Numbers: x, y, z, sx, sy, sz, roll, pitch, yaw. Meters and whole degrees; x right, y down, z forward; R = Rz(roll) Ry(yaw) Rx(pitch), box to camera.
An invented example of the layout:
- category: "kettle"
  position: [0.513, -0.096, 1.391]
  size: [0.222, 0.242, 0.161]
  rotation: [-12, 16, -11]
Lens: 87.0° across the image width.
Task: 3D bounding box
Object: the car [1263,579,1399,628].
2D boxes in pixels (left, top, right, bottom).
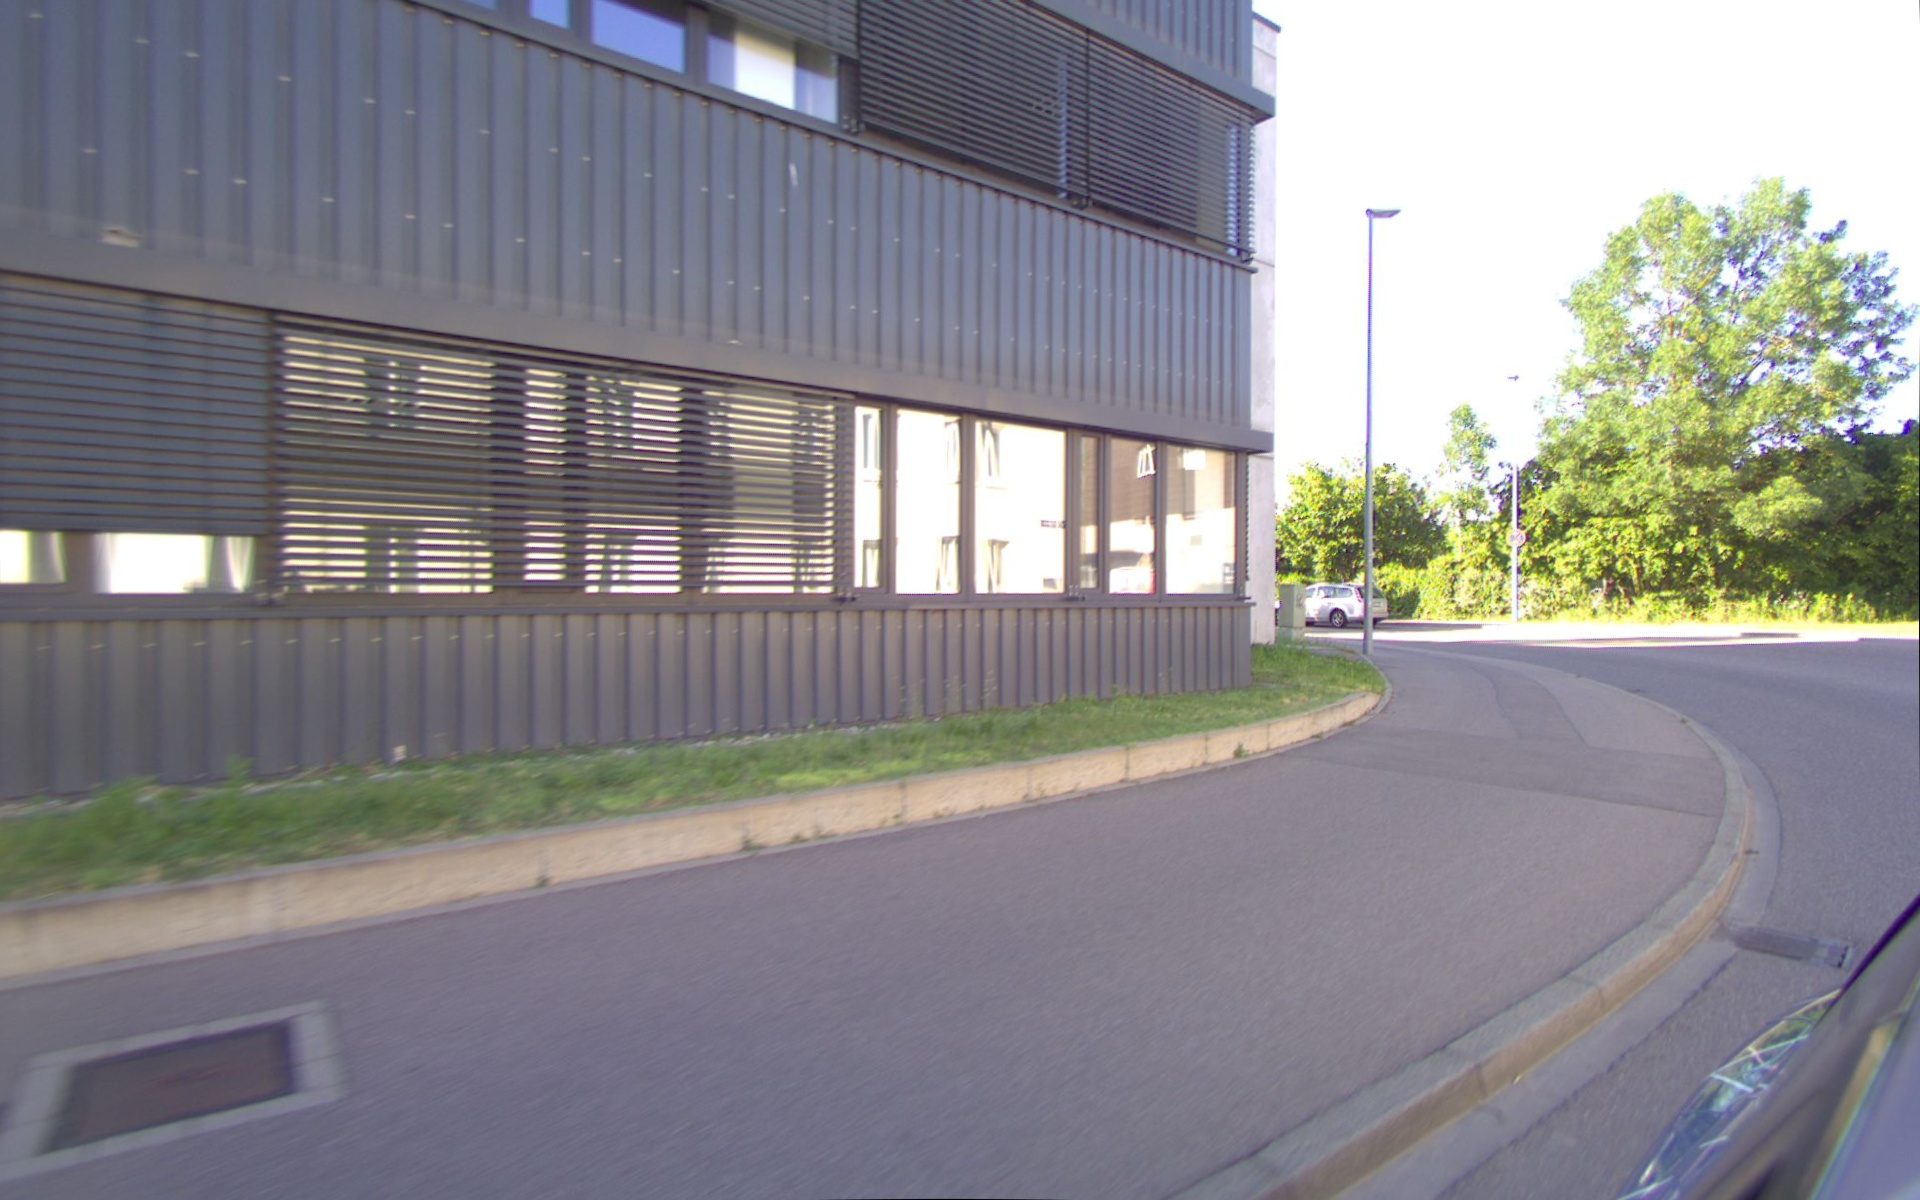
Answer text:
- category: "car"
  position: [12.890, 0.099, 35.491]
  size: [1.709, 1.523, 4.509]
  rotation: [-4, 2, -26]
